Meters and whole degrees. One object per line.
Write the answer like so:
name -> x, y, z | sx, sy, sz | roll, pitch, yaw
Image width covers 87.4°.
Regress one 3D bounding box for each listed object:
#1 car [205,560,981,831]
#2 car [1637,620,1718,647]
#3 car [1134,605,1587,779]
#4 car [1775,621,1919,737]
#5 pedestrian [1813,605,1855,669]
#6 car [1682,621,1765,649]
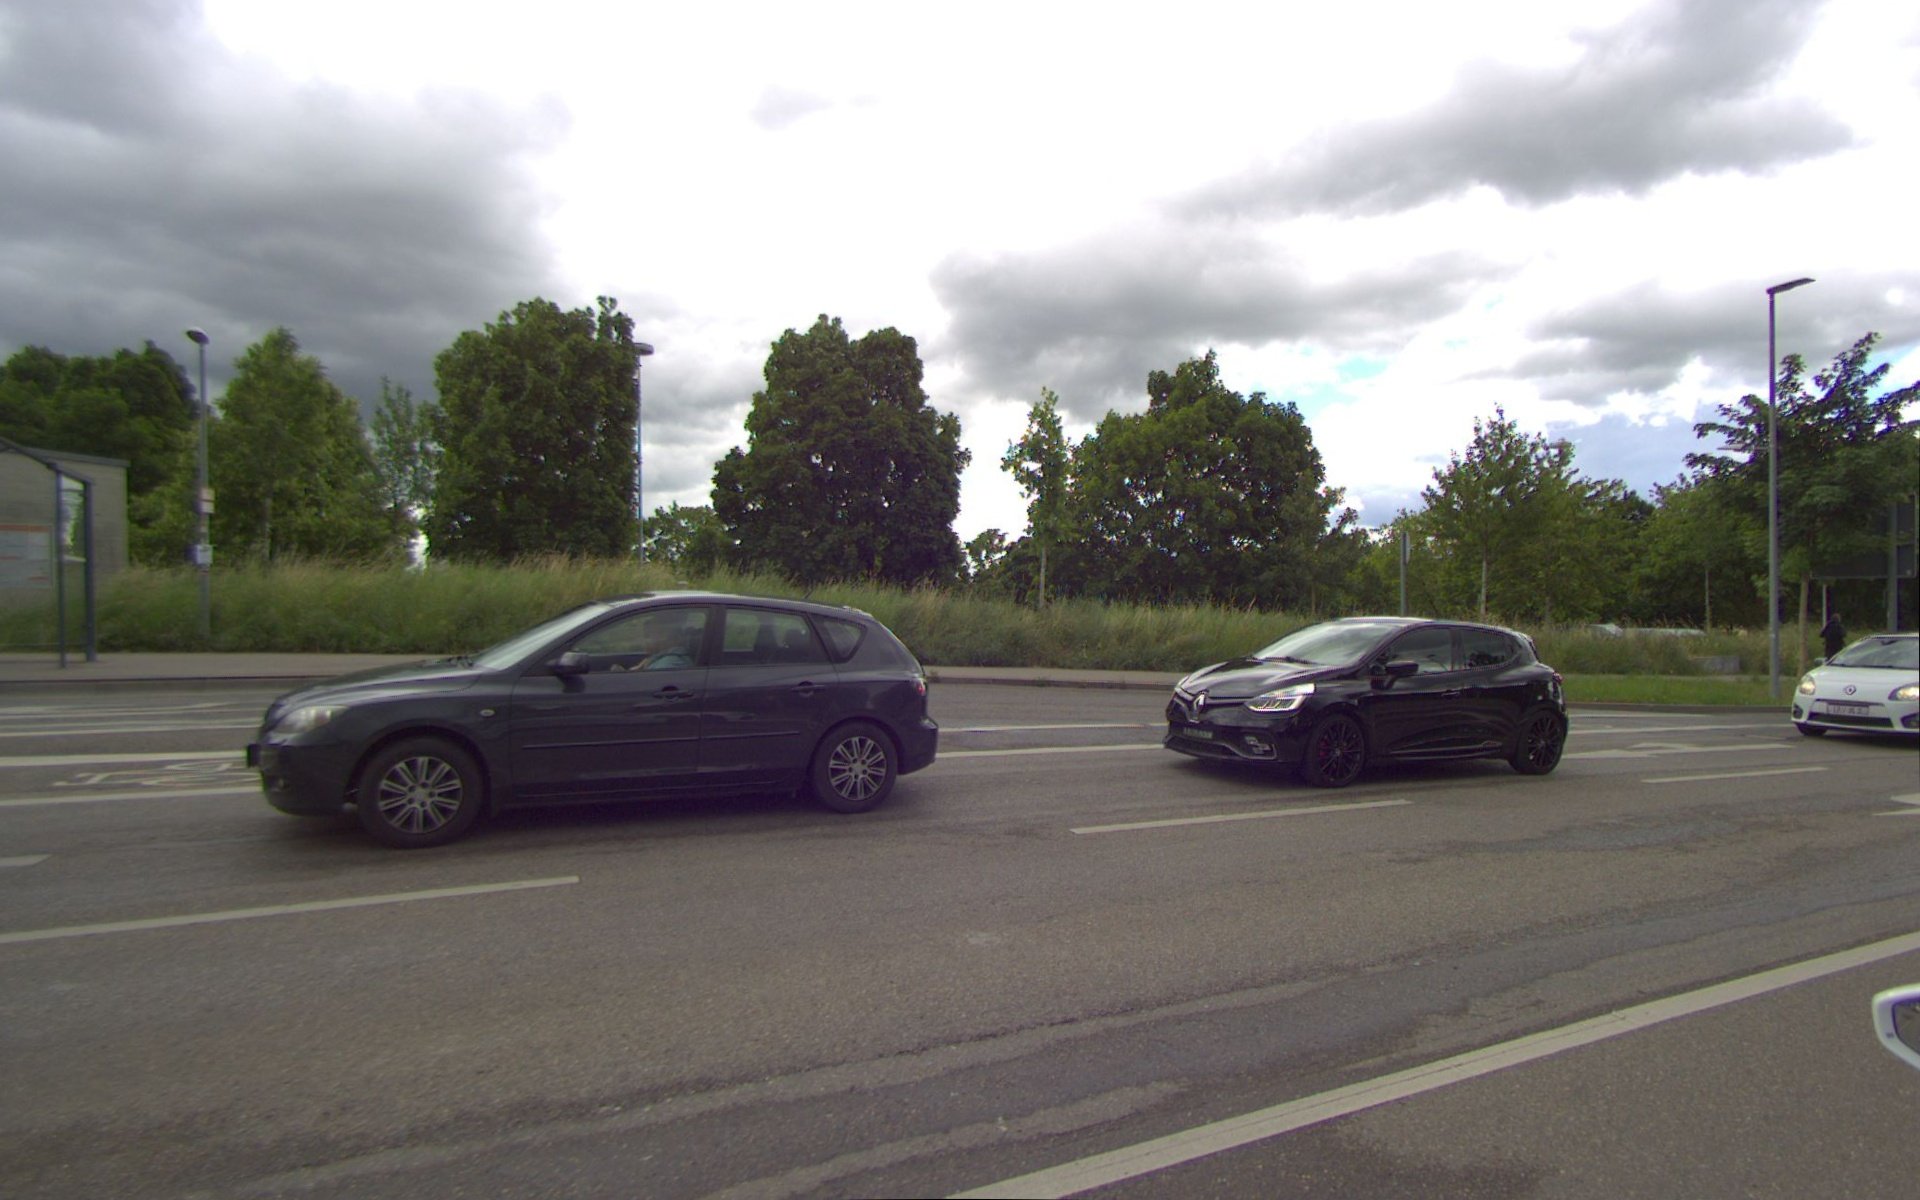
car -> -2.185, 0.533, 6.768 | 4.322, 1.350, 1.793 | 1, -1, -26
car -> 57.733, 2.668, 80.911 | 1.974, 2.040, 4.950 | 2, -2, -26
car -> 3.762, 0.765, 9.383 | 4.005, 1.350, 1.635 | 1, -1, -25
car -> 13.146, 1.026, 13.738 | 3.711, 1.409, 1.635 | 1, -1, -25
pedestrian -> 25.735, 1.096, 29.585 | 0.668, 1.860, 0.719 | 2, -1, -23
car -> 61.469, 2.802, 80.963 | 1.975, 2.219, 4.947 | 2, -2, -28
